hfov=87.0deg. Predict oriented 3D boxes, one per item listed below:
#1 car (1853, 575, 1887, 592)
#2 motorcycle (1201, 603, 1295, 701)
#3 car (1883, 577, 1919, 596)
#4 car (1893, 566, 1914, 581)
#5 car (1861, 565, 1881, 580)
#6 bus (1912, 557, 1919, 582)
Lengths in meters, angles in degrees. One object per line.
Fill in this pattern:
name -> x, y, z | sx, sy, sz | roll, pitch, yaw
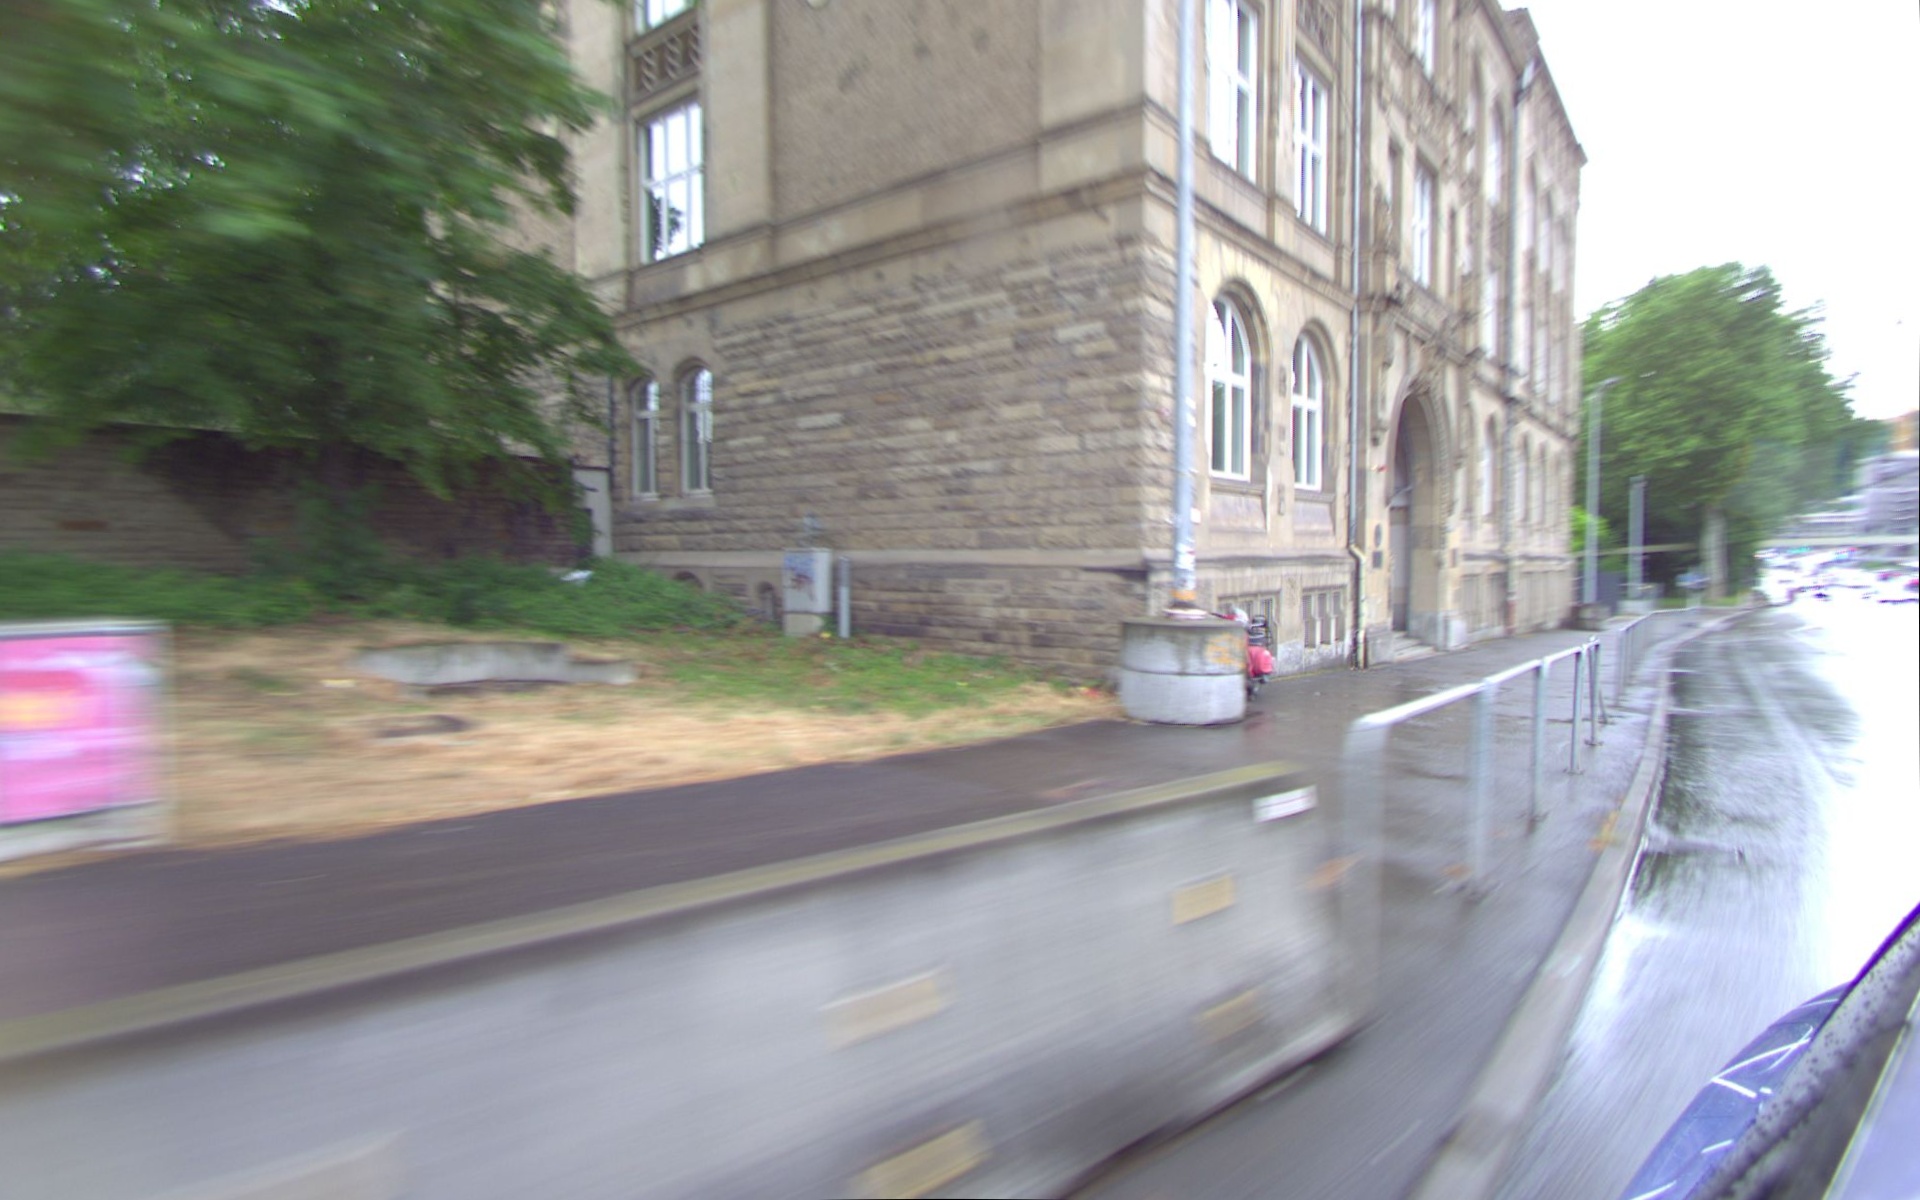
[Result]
car -> 90.265, -1.621, 100.414 | 1.977, 1.595, 4.383 | 1, 1, 36
motorcycle -> 3.776, 0.638, 13.183 | 0.545, 1.153, 1.874 | 1, 1, 37
car -> 83.554, -1.205, 89.703 | 1.977, 1.595, 4.383 | 1, 1, 36
car -> 131.056, -3.682, 140.573 | 1.991, 2.039, 3.941 | 1, 1, 41
car -> 130.671, -3.896, 145.203 | 1.991, 2.039, 3.941 | 1, 1, 41
bus -> 119.422, -3.769, 123.883 | 3.222, 3.095, 8.832 | -1, 0, 38
